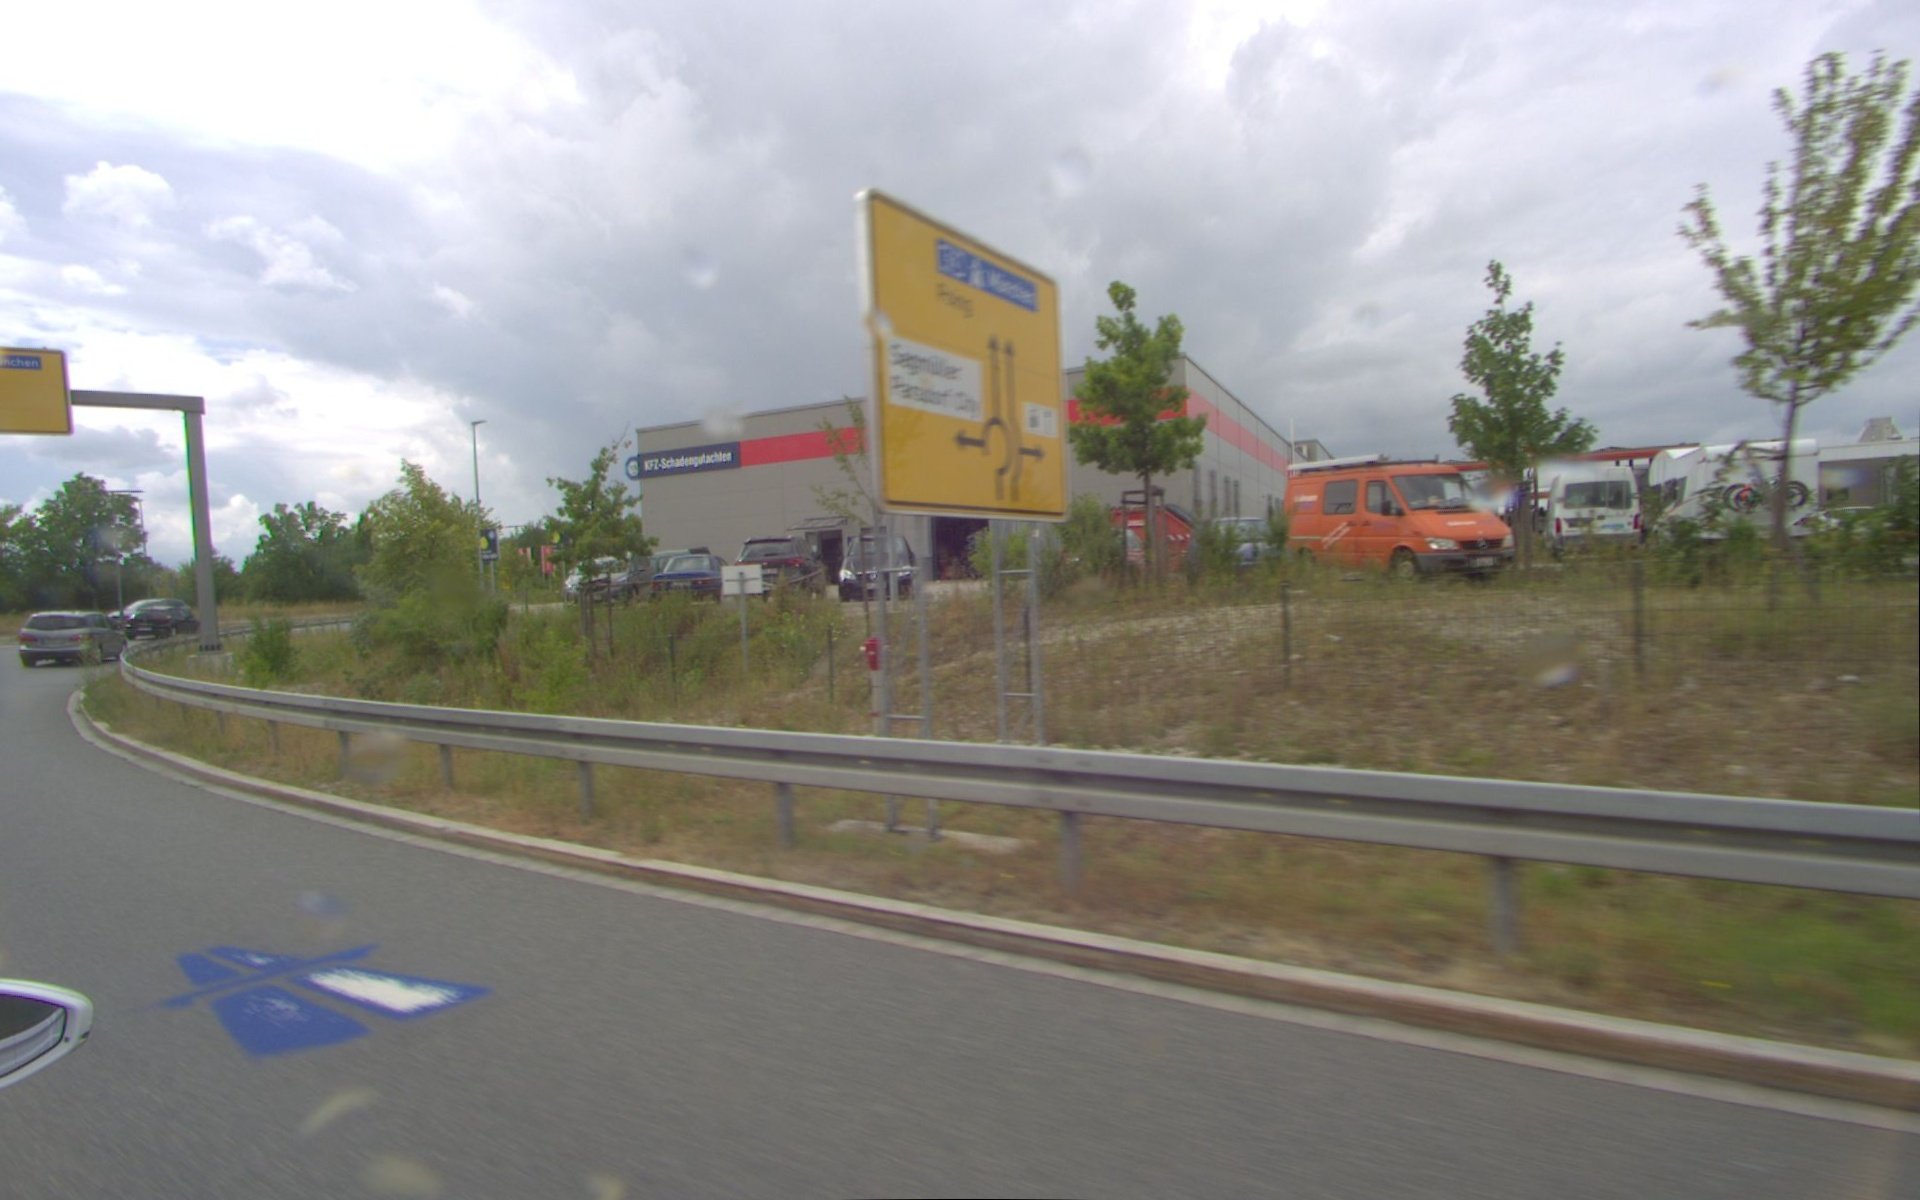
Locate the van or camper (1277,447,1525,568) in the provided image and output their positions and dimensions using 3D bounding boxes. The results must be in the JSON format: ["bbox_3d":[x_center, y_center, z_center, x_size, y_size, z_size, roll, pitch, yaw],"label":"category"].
[{"bbox_3d":[8.238,-1.701,19.295,1.781,2.026,4.664,-1,4,-15],"label":"van or camper"}]

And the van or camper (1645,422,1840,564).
[{"bbox_3d":[20.942,-2.674,27.316,2.452,3.223,7.709,-1,2,25],"label":"van or camper"}]

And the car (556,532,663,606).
[{"bbox_3d":[-9.521,-0.770,27.511,1.770,1.805,4.169,0,-1,-5],"label":"car"}]

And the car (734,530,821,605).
[{"bbox_3d":[-4.463,-0.735,24.899,1.489,1.674,3.735,0,-1,0],"label":"car"}]

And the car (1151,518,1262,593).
[{"bbox_3d":[5.165,-0.995,21.368,1.471,1.401,3.302,-3,4,-1],"label":"car"}]

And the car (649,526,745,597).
[{"bbox_3d":[-6.933,-0.962,26.773,1.699,1.674,3.859,0,-1,-2],"label":"car"}]

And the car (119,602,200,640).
[{"bbox_3d":[-36.257,0.938,45.438,1.844,1.626,3.723,-2,0,-23],"label":"car"}]

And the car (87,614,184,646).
[{"bbox_3d":[-46.060,1.627,56.087,1.780,1.651,4.686,1,0,-4],"label":"car"}]

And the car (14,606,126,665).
[{"bbox_3d":[-27.168,1.051,30.703,1.747,1.638,3.902,-2,0,-30],"label":"car"}]

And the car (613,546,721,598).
[{"bbox_3d":[-11.714,-1.119,40.054,3.906,1.837,1.698,-2,4,25],"label":"car"}]

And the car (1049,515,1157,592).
[{"bbox_3d":[2.942,-0.911,21.520,1.671,1.419,4.587,-3,1,1],"label":"car"}]

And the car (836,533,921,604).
[{"bbox_3d":[-1.891,-0.787,24.179,1.659,1.540,3.791,-1,3,1],"label":"car"}]
